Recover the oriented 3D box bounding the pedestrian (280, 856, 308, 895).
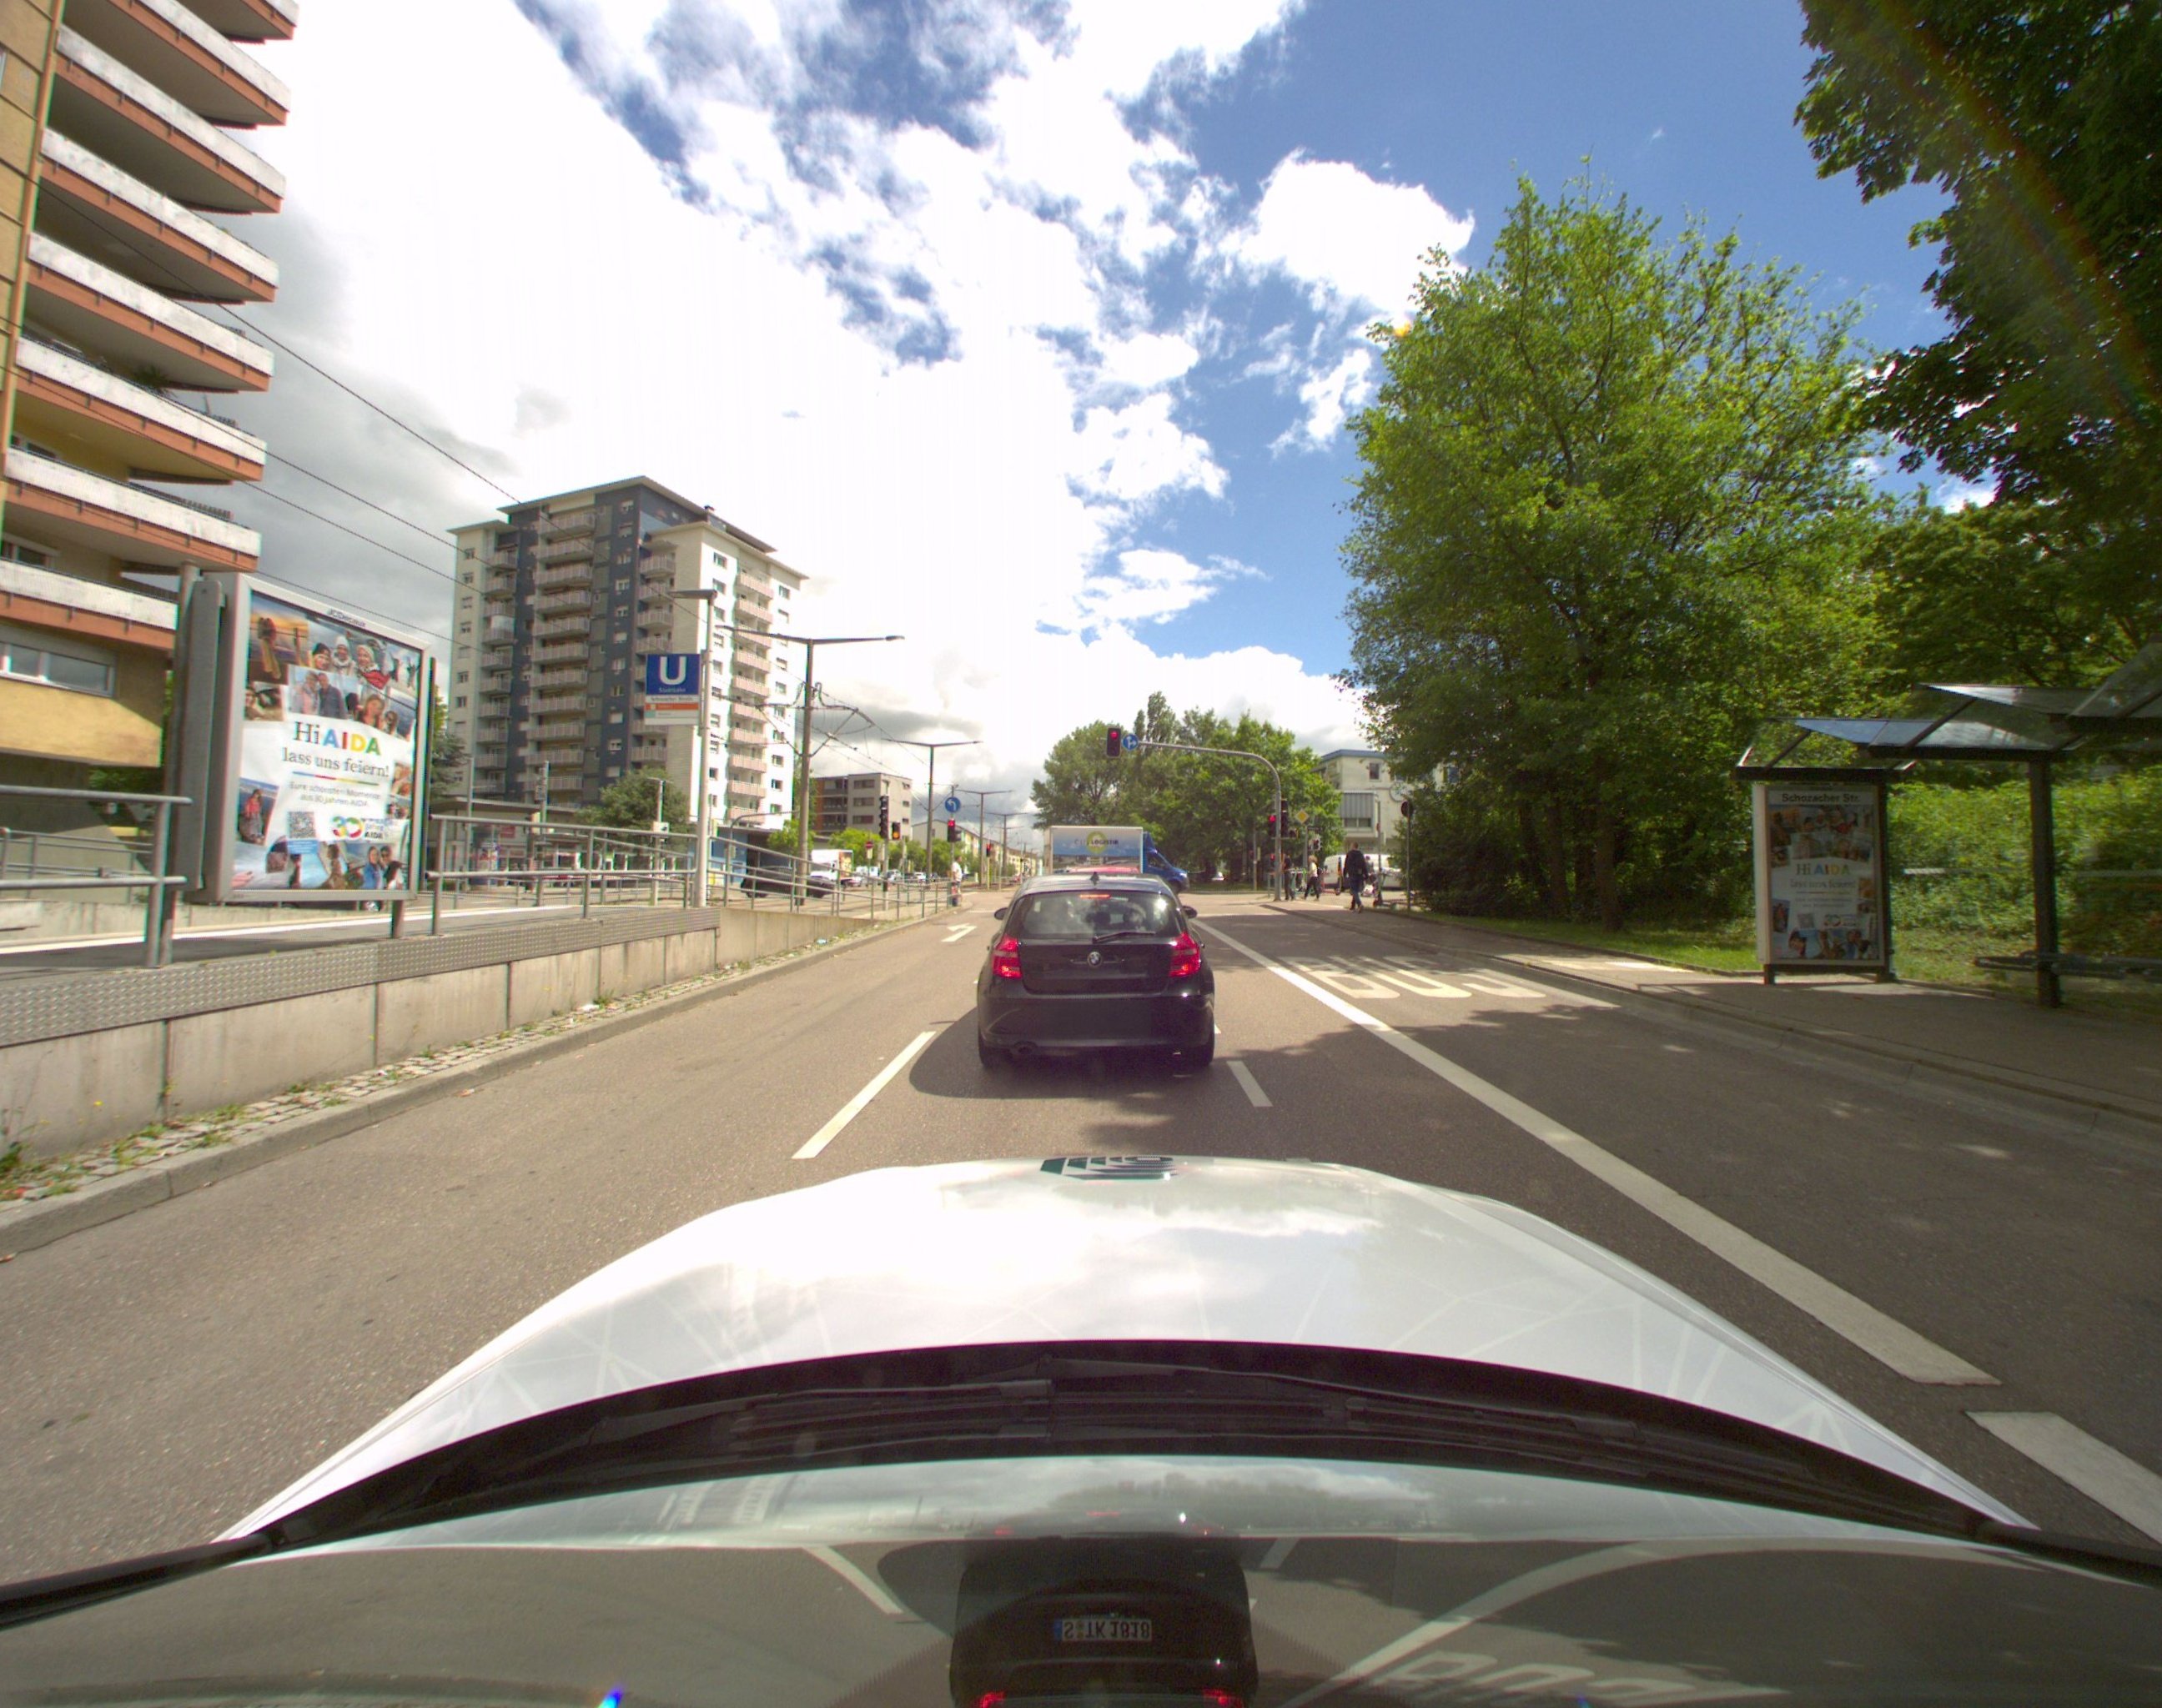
[{"bbox_3d":[-29.058,0.789,30.075,0.494,1.440,0.551,-1,-1,12],"label":"pedestrian"}]

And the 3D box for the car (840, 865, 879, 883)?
[{"bbox_3d":[-24.456,2.167,89.983,3.944,1.975,1.637,0,-1,-41],"label":"car"}]

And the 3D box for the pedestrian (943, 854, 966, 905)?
[{"bbox_3d":[-4.318,0.857,27.795,0.685,1.734,0.687,0,-1,-1],"label":"pedestrian"}]

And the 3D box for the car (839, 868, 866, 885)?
[{"bbox_3d":[-20.849,2.043,74.488,1.402,1.461,3.773,0,-1,0],"label":"car"}]

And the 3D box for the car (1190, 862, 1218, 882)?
[{"bbox_3d":[12.001,1.756,79.649,1.724,1.871,3.990,0,-1,-7],"label":"car"}]

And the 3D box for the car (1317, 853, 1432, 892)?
[{"bbox_3d":[14.813,0.901,41.214,5.169,1.893,1.994,0,-1,-9],"label":"car"}]

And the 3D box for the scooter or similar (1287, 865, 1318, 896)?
[{"bbox_3d":[8.969,1.054,33.003,1.105,1.235,0.540,0,-1,4],"label":"scooter or similar"}]

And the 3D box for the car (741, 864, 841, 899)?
[{"bbox_3d":[-13.093,1.212,37.014,3.986,1.486,1.841,0,-1,-9],"label":"car"}]

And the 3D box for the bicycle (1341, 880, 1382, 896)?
[{"bbox_3d":[11.889,1.448,34.515,1.571,0.610,0.537,-3,-1,22],"label":"bicycle"}]

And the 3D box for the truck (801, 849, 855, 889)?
[{"bbox_3d":[-20.544,1.196,66.538,2.275,3.118,7.312,0,-1,-2],"label":"truck"}]

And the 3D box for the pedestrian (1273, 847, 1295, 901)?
[{"bbox_3d":[7.182,0.708,28.838,0.634,1.876,0.518,0,-1,-1],"label":"pedestrian"}]

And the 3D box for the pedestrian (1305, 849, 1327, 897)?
[{"bbox_3d":[8.702,0.708,30.185,0.634,1.766,0.518,0,-1,-1],"label":"pedestrian"}]

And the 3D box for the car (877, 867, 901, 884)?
[{"bbox_3d":[-20.536,2.259,87.118,1.586,1.756,3.775,0,-1,1],"label":"car"}]

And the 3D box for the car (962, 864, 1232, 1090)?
[{"bbox_3d":[0.155,0.797,6.838,1.694,1.400,3.421,0,-1,2],"label":"car"}]

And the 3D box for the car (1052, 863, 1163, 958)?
[{"bbox_3d":[0.446,0.854,13.739,1.632,1.400,3.421,0,-1,2],"label":"car"}]

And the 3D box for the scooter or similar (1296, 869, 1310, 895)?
[{"bbox_3d":[9.484,1.177,34.797,0.543,1.064,1.267,0,-1,16],"label":"scooter or similar"}]

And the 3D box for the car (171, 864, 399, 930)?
[{"bbox_3d":[-18.830,0.956,19.535,1.573,1.405,3.866,-1,-1,2],"label":"car"}]

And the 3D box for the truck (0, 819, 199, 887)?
[{"bbox_3d":[-34.572,-0.021,28.756,4.262,2.290,2.352,0,-1,2],"label":"truck"}]

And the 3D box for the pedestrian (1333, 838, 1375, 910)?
[{"bbox_3d":[7.300,0.531,21.838,0.792,1.876,1.014,0,-1,2],"label":"pedestrian"}]

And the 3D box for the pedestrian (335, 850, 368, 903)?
[{"bbox_3d":[-24.978,0.765,27.883,0.650,1.776,0.667,-1,-1,30],"label":"pedestrian"}]

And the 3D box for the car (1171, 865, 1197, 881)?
[{"bbox_3d":[11.434,2.088,90.560,1.862,1.662,3.987,0,-1,-9],"label":"car"}]

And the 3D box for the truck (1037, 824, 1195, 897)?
[{"bbox_3d":[1.635,0.274,39.330,7.267,3.348,2.600,0,-1,-9],"label":"truck"}]

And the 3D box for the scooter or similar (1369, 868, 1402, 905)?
[{"bbox_3d":[10.628,1.127,28.438,0.886,1.230,0.455,4,-1,2],"label":"scooter or similar"}]

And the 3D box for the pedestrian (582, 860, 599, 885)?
[{"bbox_3d":[-39.506,1.475,65.570,0.851,2.014,0.852,-1,-1,29],"label":"pedestrian"}]

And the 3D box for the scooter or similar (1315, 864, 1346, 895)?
[{"bbox_3d":[10.364,1.047,33.816,1.145,1.272,0.556,1,-1,4],"label":"scooter or similar"}]

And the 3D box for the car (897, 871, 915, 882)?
[{"bbox_3d":[-24.138,3.055,112.662,1.586,1.474,3.775,0,-1,1],"label":"car"}]

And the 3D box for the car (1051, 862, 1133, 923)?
[{"bbox_3d":[0.335,0.918,21.216,1.893,1.422,4.540,0,-1,2],"label":"car"}]

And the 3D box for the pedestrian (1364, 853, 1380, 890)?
[{"bbox_3d":[13.328,0.800,37.280,0.651,1.713,0.464,-1,-1,24],"label":"pedestrian"}]

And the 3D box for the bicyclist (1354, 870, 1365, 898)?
[{"bbox_3d":[11.812,1.255,34.523,0.395,1.157,0.505,-1,-1,23],"label":"bicyclist"}]
